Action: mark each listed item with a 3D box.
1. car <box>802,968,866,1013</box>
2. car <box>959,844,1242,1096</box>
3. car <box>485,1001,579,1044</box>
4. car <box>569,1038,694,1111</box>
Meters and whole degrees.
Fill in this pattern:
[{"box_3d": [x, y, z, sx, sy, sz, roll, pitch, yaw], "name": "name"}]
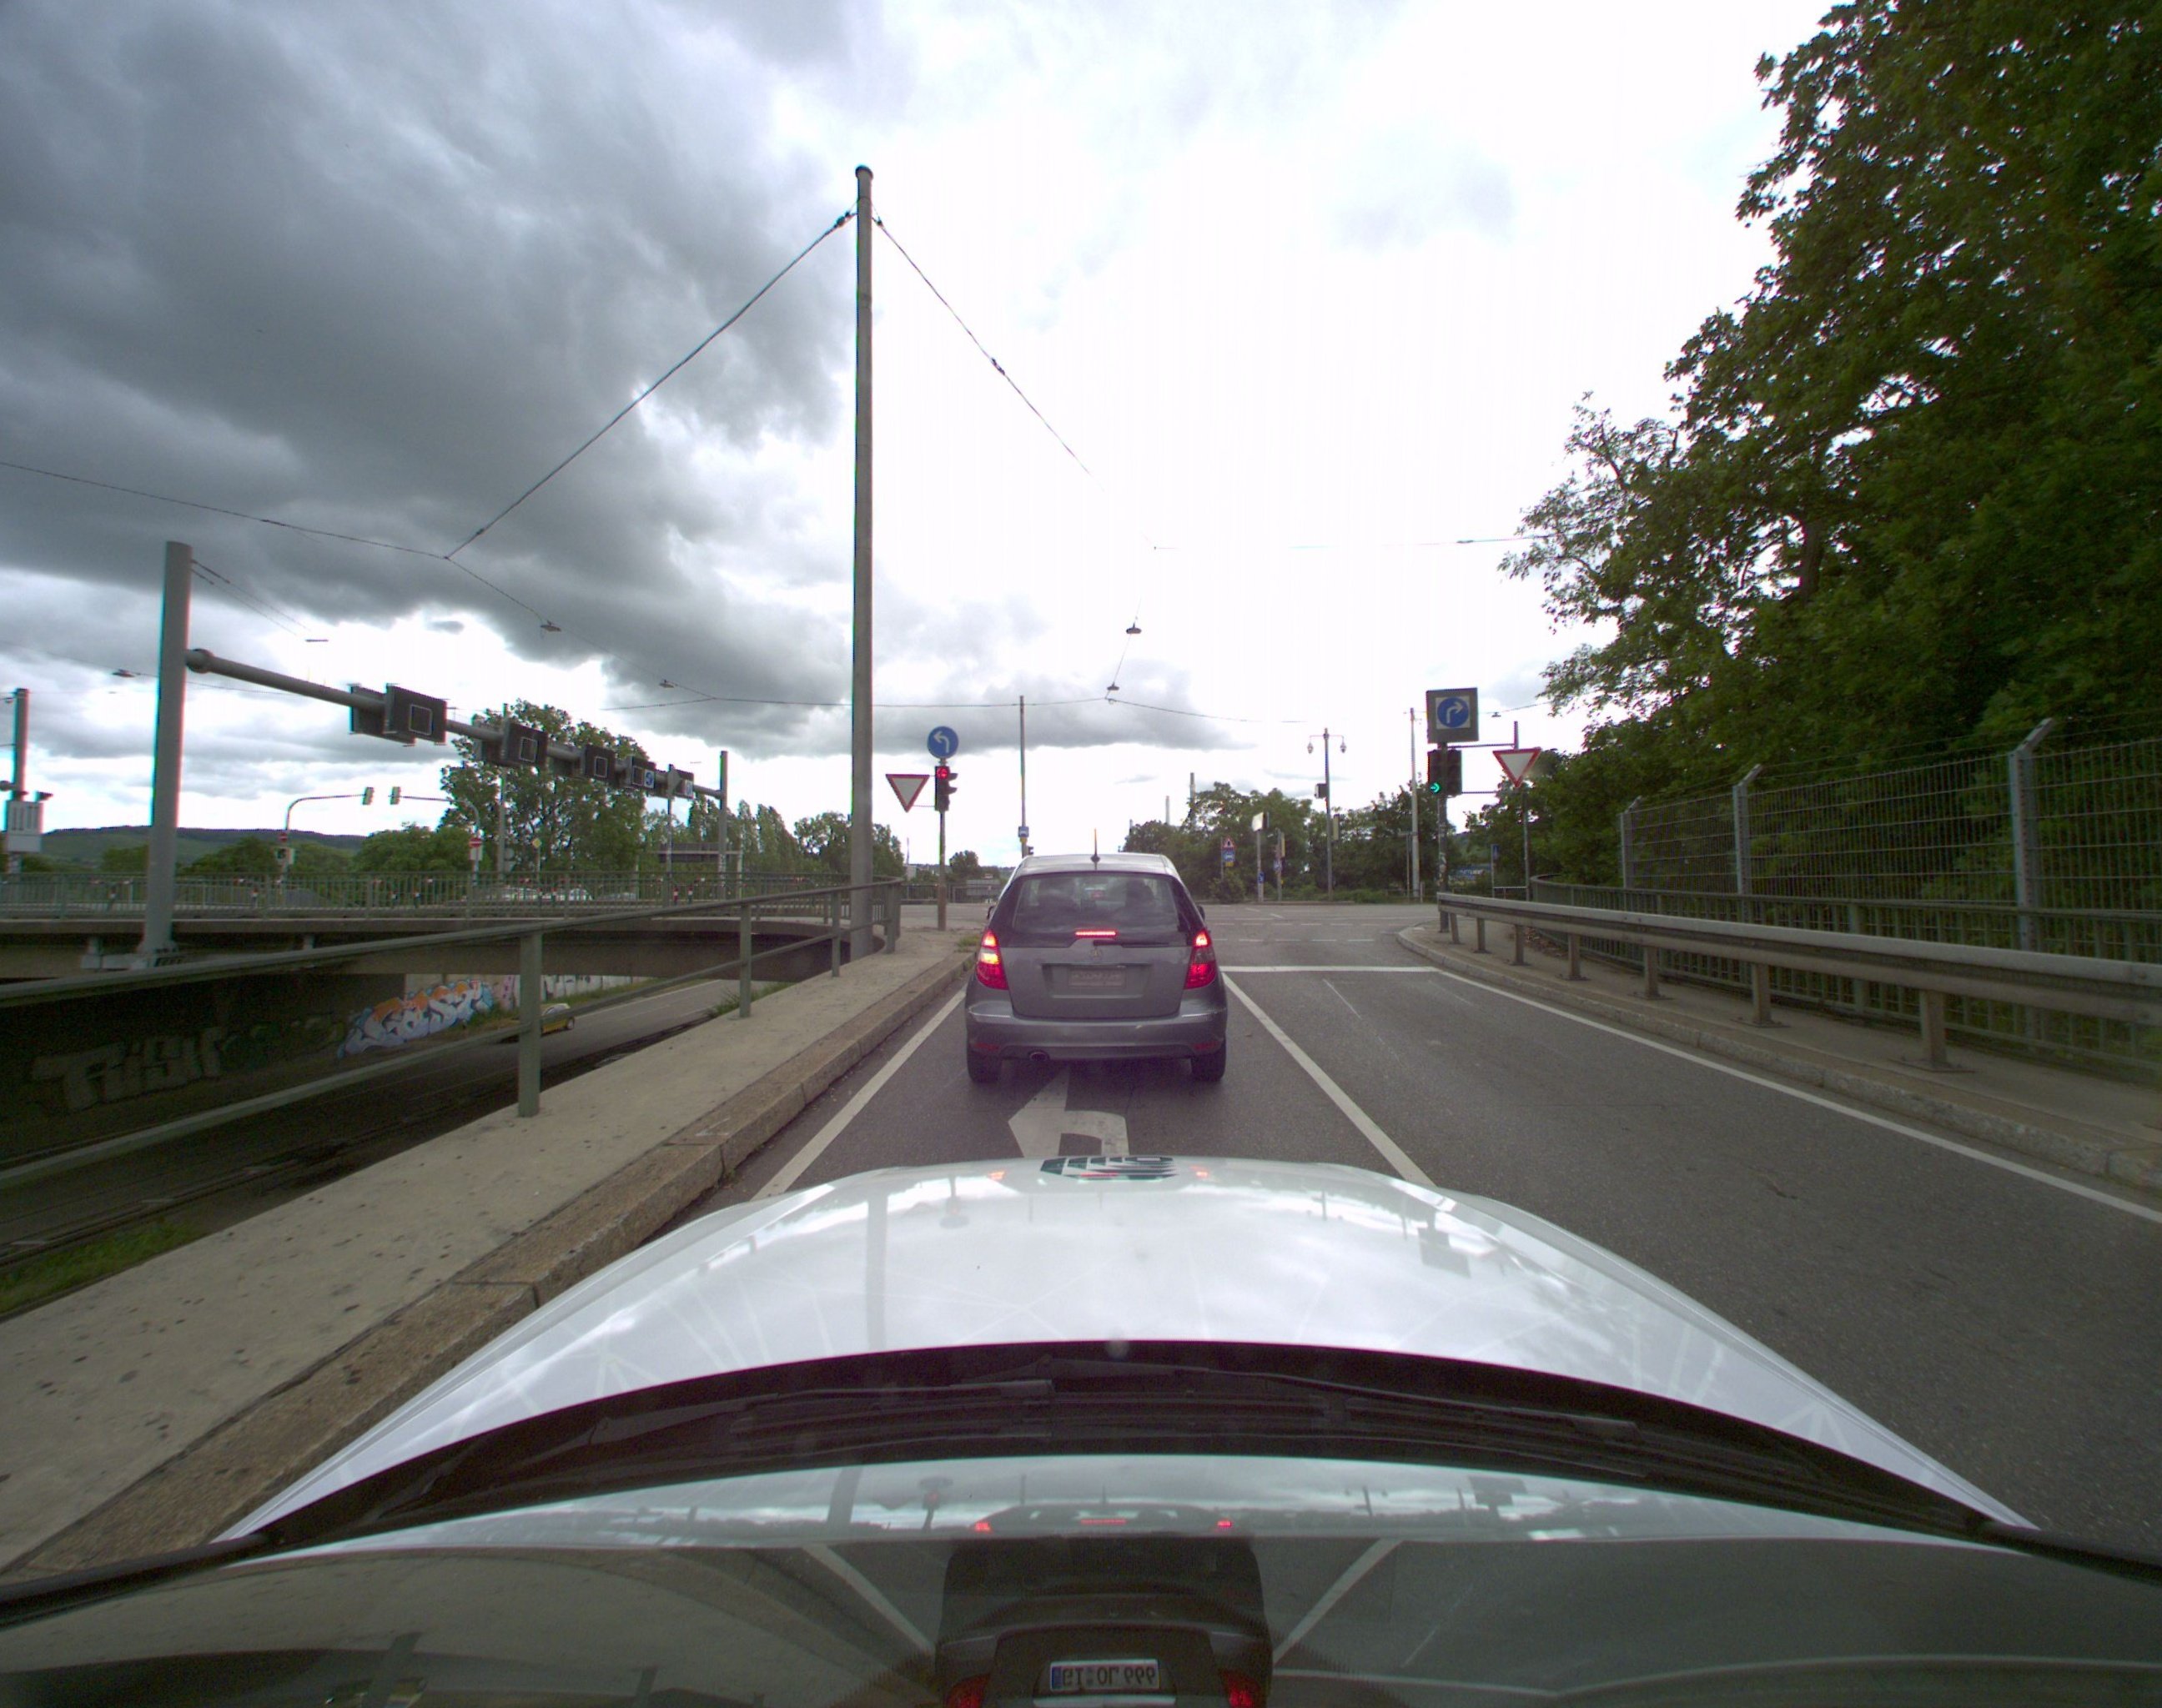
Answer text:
[{"box_3d": [-14.715, 8.120, 48.898, 1.985, 2.014, 5.257, -1, -3, 3], "name": "car"}, {"box_3d": [0.180, 0.728, 6.795, 1.733, 1.543, 3.542, 0, -1, 2], "name": "car"}, {"box_3d": [-28.083, 8.609, 41.836, 1.861, 1.457, 4.154, -2, -3, 2], "name": "car"}, {"box_3d": [-15.141, 7.389, 27.706, 1.611, 1.422, 4.418, -2, -3, 3], "name": "car"}]
